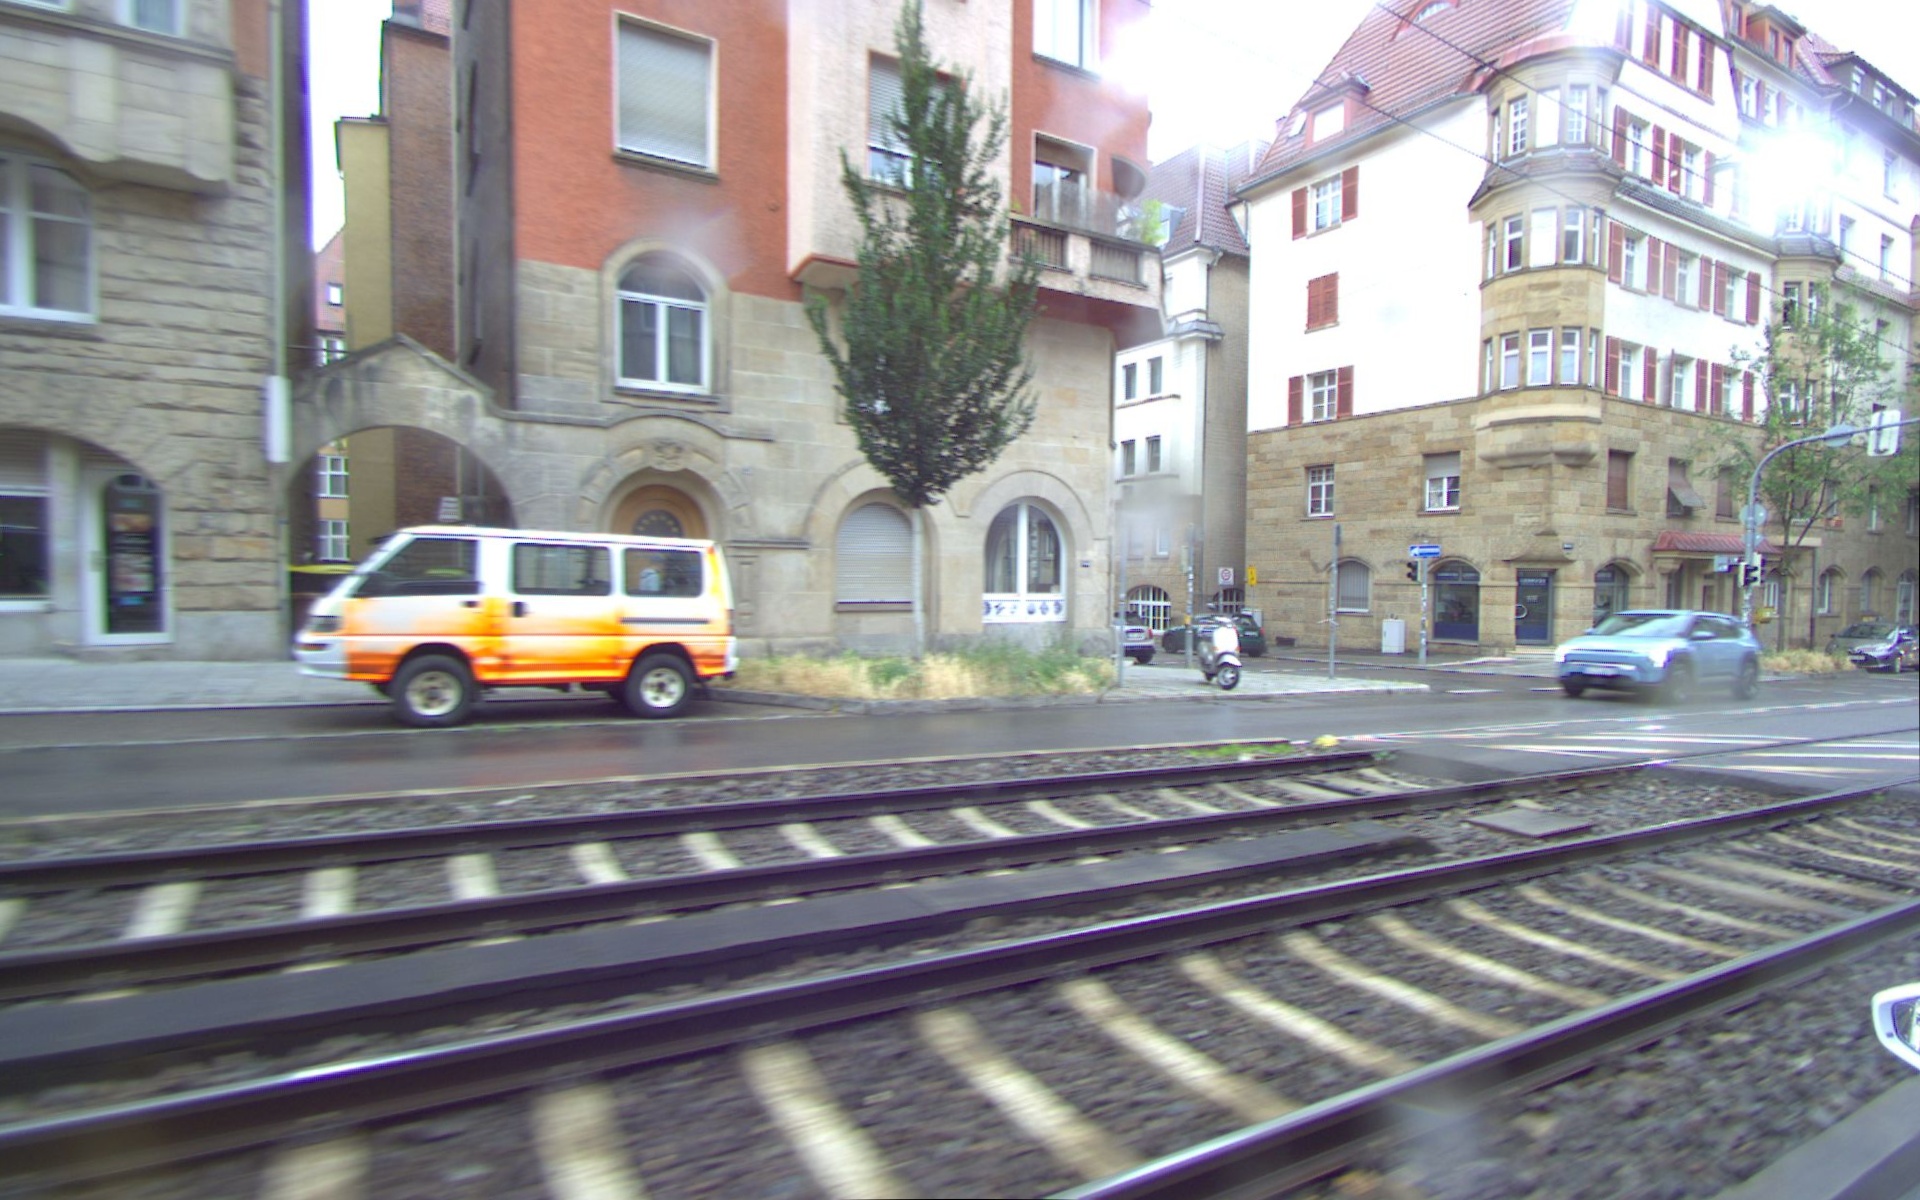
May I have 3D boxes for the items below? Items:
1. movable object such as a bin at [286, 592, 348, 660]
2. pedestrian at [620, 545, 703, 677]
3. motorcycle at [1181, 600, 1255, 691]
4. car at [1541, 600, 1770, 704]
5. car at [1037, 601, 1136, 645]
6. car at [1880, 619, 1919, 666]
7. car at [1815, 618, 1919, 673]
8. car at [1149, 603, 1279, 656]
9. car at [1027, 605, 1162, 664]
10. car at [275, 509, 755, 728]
[{"bbox_3d":[-8.926,0.361,13.958,0.647,0.910,0.544,2,0,-27],"label":"movable object such as a bin"},{"bbox_3d":[-4.193,0.150,14.090,0.882,1.743,0.713,2,6,-30],"label":"pedestrian"},{"bbox_3d":[4.209,0.713,16.505,0.752,1.393,1.785,2,0,2],"label":"motorcycle"},{"bbox_3d":[12.485,0.908,17.995,4.084,1.639,1.910,2,0,-32],"label":"car"},{"bbox_3d":[5.039,0.911,40.563,1.976,1.595,3.968,2,0,-30],"label":"car"},{"bbox_3d":[32.875,1.455,33.677,4.924,1.479,1.771,2,0,-32],"label":"car"},{"bbox_3d":[28.149,1.387,30.881,4.130,1.549,1.680,2,0,-32],"label":"car"},{"bbox_3d":[8.533,0.965,34.073,1.979,1.595,3.963,2,0,-33],"label":"car"},{"bbox_3d":[3.749,0.948,28.592,1.726,1.486,3.968,2,0,-30],"label":"car"},{"bbox_3d":[-4.658,0.230,10.881,4.427,1.956,1.719,2,0,-32],"label":"car"}]
